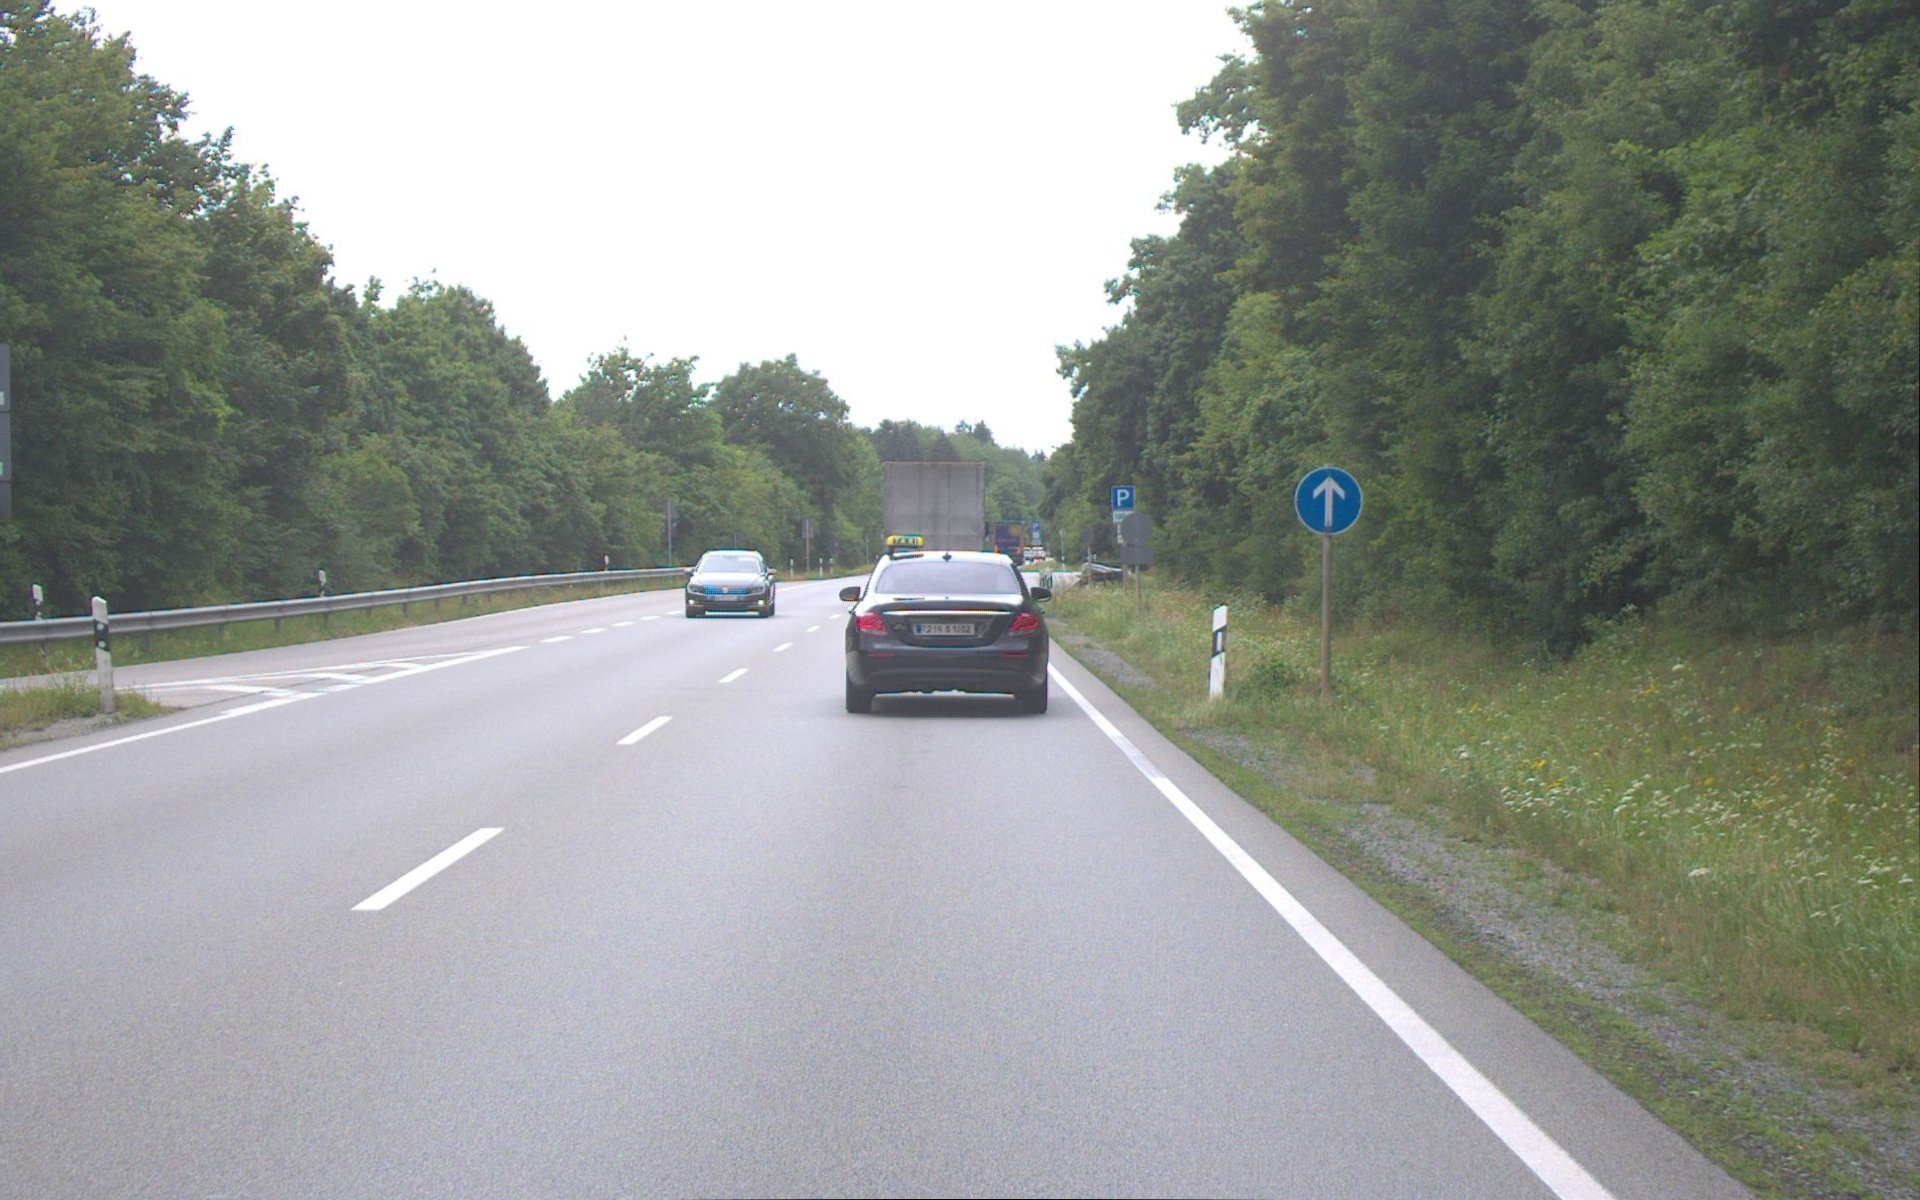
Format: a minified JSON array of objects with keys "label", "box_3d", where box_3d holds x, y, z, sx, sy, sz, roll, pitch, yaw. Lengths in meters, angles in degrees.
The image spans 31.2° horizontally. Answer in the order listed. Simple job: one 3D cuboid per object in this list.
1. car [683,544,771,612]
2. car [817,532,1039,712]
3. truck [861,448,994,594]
[{"label":"car","box_3d":[-5.145,-0.509,76.399,1.808,1.437,4.448,1,1,-2]},{"label":"car","box_3d":[-0.358,0.162,31.897,1.791,1.546,4.001,1,1,-4]},{"label":"truck","box_3d":[-0.841,-2.059,91.377,3.281,3.599,11.400,1,1,0]}]
